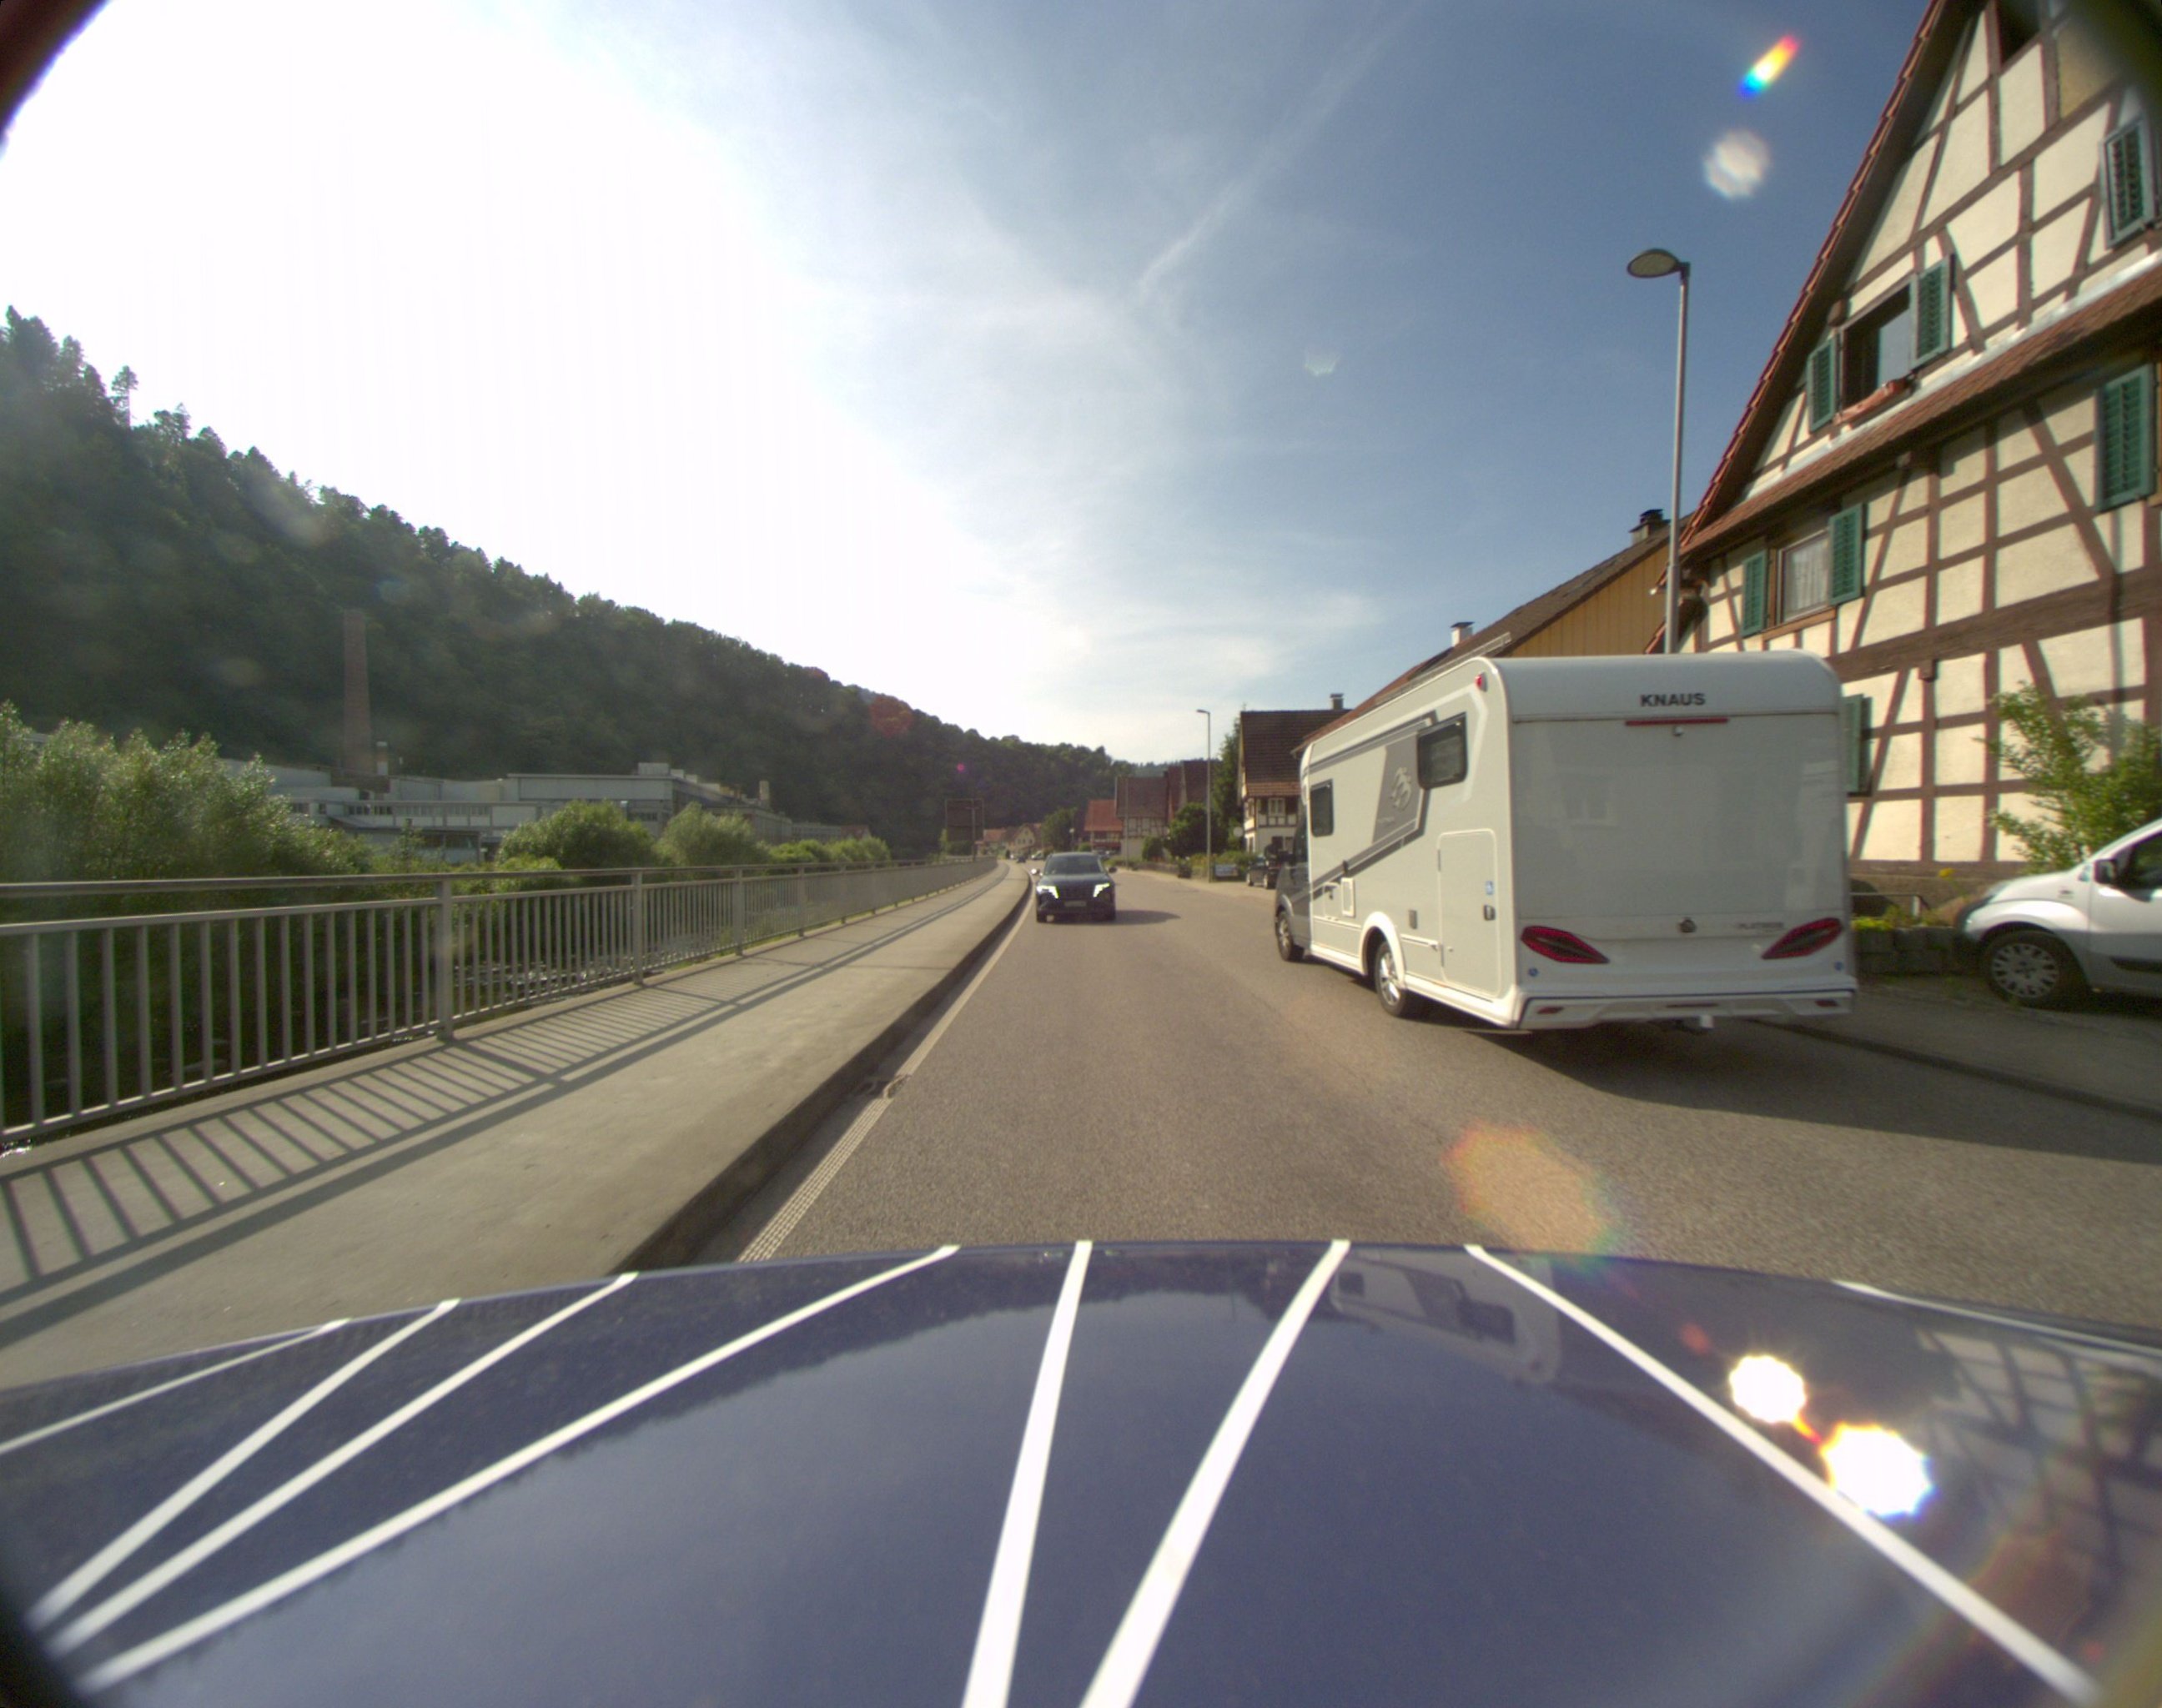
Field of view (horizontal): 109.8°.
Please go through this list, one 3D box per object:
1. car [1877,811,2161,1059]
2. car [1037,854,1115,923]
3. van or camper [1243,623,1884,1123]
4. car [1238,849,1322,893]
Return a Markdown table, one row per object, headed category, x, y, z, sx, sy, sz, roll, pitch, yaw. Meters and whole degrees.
| category | x | y | z | sx | sy | sz | roll | pitch | yaw |
| --- | --- | --- | --- | --- | --- | --- | --- | --- | --- |
| car | 8.135 | 0.521 | 4.804 | 1.905 | 1.655 | 4.268 | -1 | 0 | 4 |
| car | -0.234 | 0.829 | 20.368 | 1.650 | 1.639 | 3.997 | -1 | 0 | -7 |
| van or camper | 3.645 | 0.118 | 8.093 | 2.201 | 2.921 | 7.126 | -2 | 0 | -1 |
| car | 7.672 | 0.610 | 29.715 | 1.890 | 1.510 | 4.234 | -2 | 0 | -4 |
